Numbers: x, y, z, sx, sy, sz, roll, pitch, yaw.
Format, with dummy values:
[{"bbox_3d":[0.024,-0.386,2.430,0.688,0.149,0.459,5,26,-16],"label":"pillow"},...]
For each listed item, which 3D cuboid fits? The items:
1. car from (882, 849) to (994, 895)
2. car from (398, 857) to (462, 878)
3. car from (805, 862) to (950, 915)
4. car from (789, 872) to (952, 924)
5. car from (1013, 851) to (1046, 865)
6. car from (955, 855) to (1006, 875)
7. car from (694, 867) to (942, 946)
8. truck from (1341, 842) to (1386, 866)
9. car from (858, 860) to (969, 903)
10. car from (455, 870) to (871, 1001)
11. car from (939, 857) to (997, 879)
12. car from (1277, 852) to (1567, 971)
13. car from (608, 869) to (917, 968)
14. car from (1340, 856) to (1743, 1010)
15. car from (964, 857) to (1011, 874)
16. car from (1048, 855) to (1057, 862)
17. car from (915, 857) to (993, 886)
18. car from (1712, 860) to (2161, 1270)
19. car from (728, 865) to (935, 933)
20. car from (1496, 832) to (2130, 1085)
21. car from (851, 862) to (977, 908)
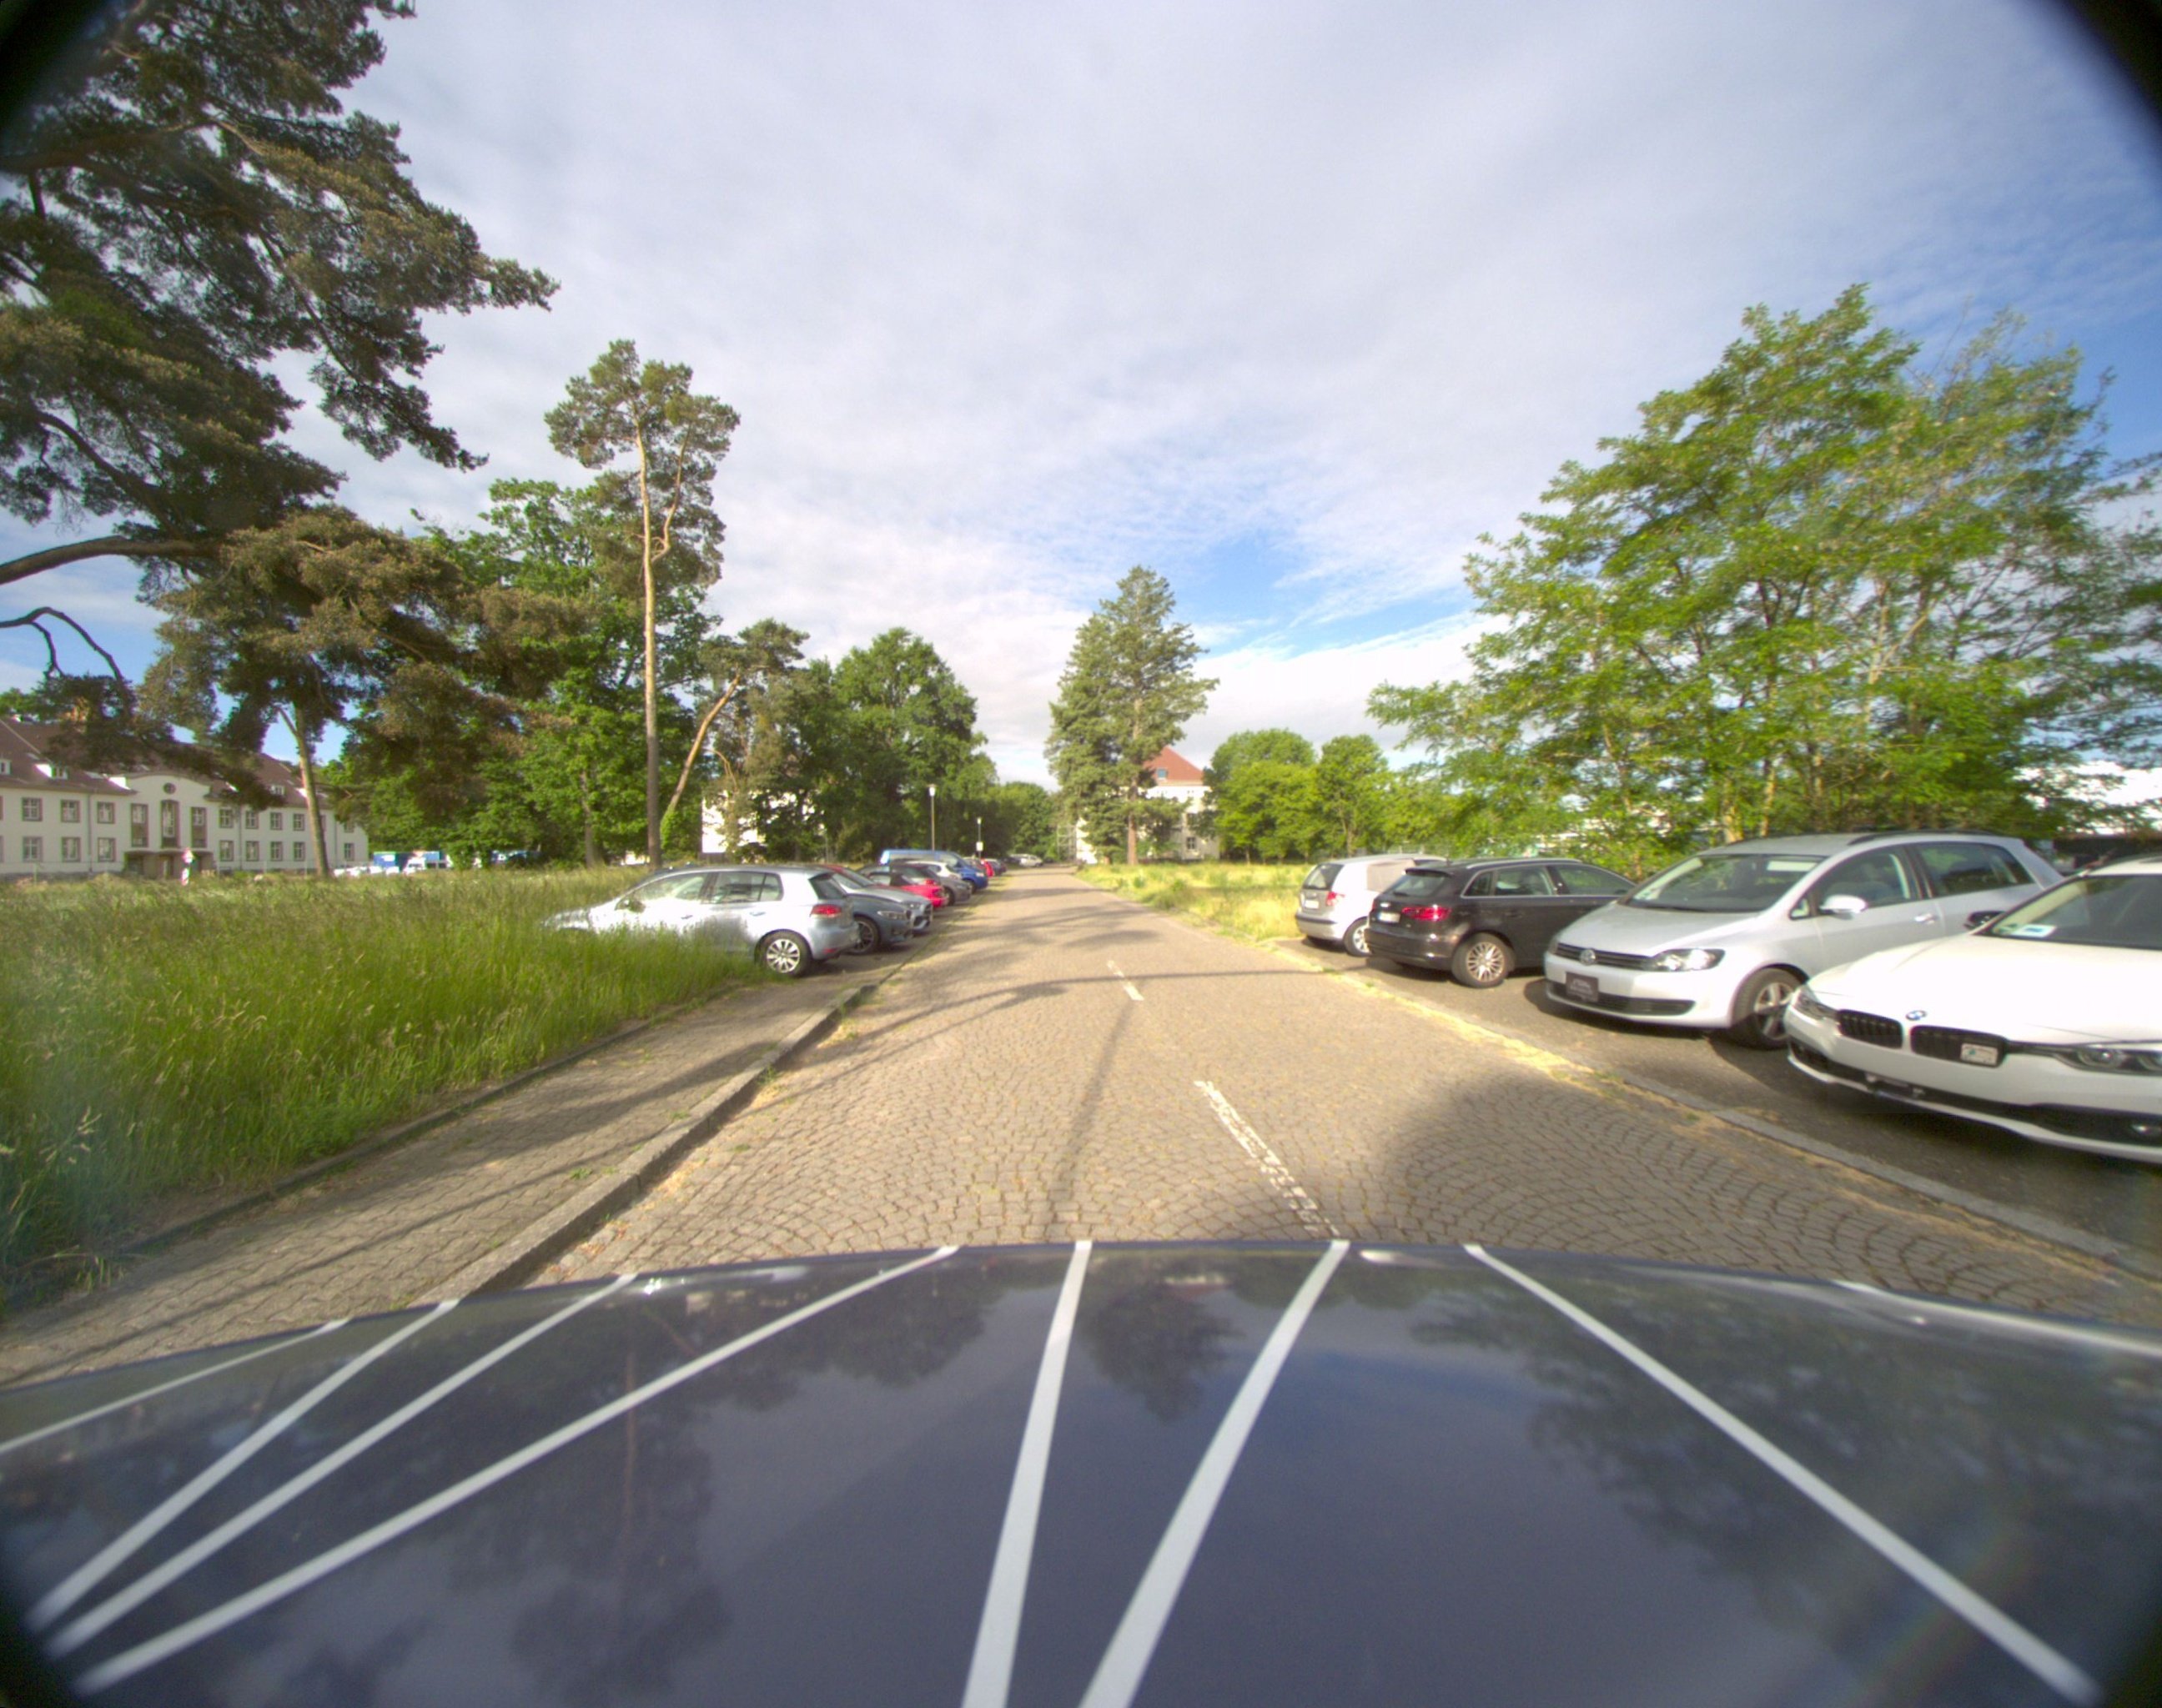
[{"bbox_3d":[-6.344,0.781,34.168,4.747,1.917,1.991,1,1,-5],"label":"car"},{"bbox_3d":[-73.561,1.467,86.025,2.167,2.286,5.960,-1,0,-1],"label":"car"},{"bbox_3d":[-6.076,1.018,23.034,3.962,1.486,1.771,0,1,-4],"label":"car"},{"bbox_3d":[-5.552,1.147,20.428,3.962,1.253,1.726,0,1,-4],"label":"car"},{"bbox_3d":[-7.965,0.617,117.291,5.080,2.029,1.999,-1,0,-4],"label":"car"},{"bbox_3d":[-8.374,0.911,63.505,4.137,1.560,1.745,0,1,-4],"label":"car"},{"bbox_3d":[-5.285,1.030,15.787,4.520,1.465,1.848,0,1,-4],"label":"car"},{"bbox_3d":[32.344,0.042,87.150,2.418,2.572,6.957,-1,0,-1],"label":"truck"},{"bbox_3d":[-6.279,1.018,28.812,3.885,1.521,1.807,0,1,-4],"label":"car"},{"bbox_3d":[-5.372,1.012,10.366,4.558,1.497,1.932,0,1,-6],"label":"car"},{"bbox_3d":[-7.890,0.970,53.232,3.888,1.464,1.686,0,1,-5],"label":"car"},{"bbox_3d":[5.237,0.828,11.983,3.694,1.465,1.848,-4,1,-6],"label":"car"},{"bbox_3d":[-5.202,1.021,13.008,4.521,1.465,1.893,0,1,-8],"label":"car"},{"bbox_3d":[5.459,0.860,9.339,3.840,1.421,1.858,-4,1,-5],"label":"car"},{"bbox_3d":[-8.394,1.011,68.212,4.037,1.442,1.782,0,1,-2],"label":"car"},{"bbox_3d":[-6.949,1.051,183.817,1.999,1.762,4.107,-1,1,-4],"label":"car"},{"bbox_3d":[-7.124,0.971,43.002,4.203,1.580,1.877,0,1,-5],"label":"car"},{"bbox_3d":[6.461,0.813,4.160,4.601,1.447,1.902,-4,-1,-6],"label":"car"},{"bbox_3d":[-5.781,1.032,18.028,4.353,1.465,1.739,0,1,-4],"label":"car"},{"bbox_3d":[6.193,0.741,6.688,4.134,1.590,1.857,-4,1,-8],"label":"car"},{"bbox_3d":[-5.637,1.023,25.993,3.962,1.459,1.830,0,1,-4],"label":"car"}]
